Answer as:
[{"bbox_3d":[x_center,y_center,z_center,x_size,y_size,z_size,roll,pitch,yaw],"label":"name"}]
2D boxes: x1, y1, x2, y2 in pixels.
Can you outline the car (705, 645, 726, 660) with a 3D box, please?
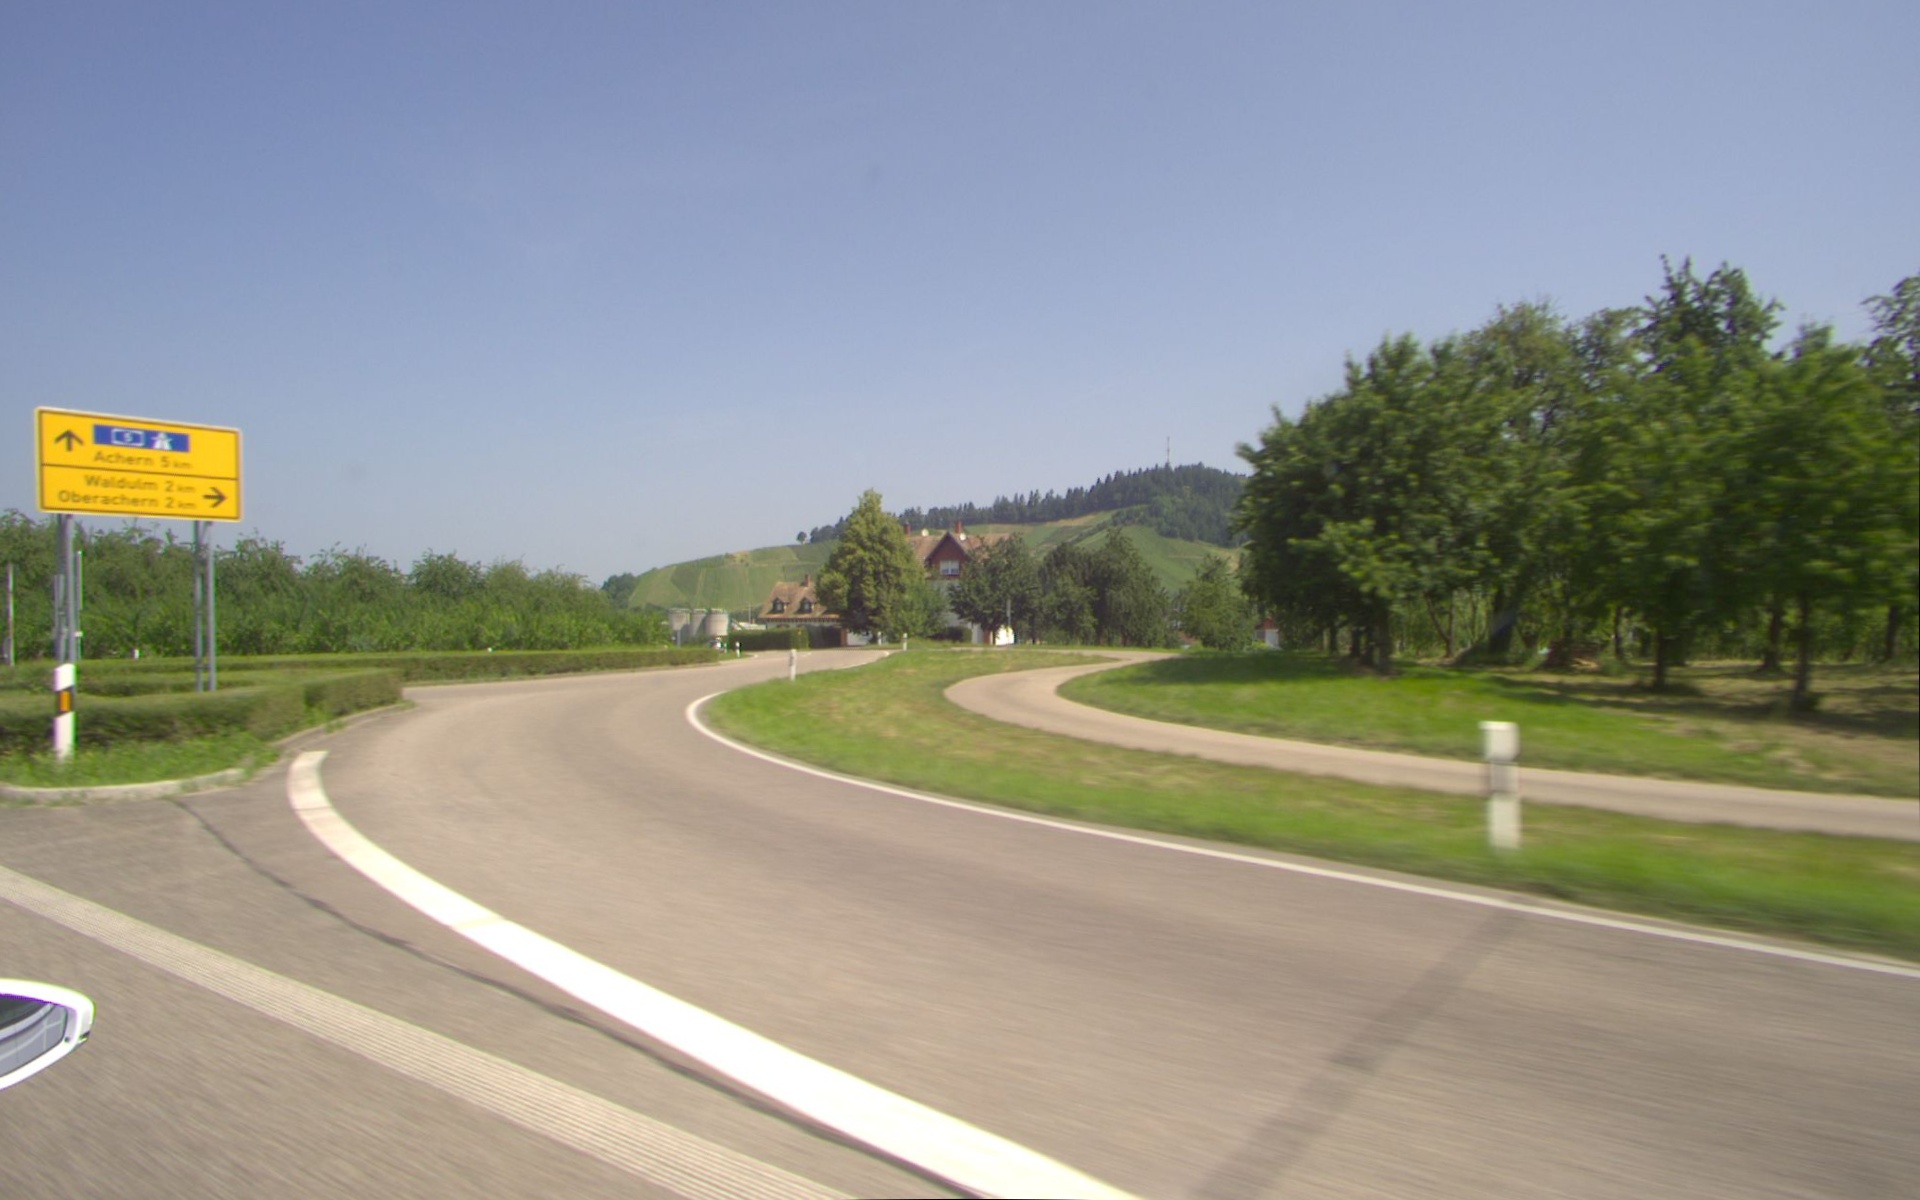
[{"bbox_3d":[-30.180,6.428,123.589,1.763,1.705,3.985,0,-1,-26],"label":"car"}]
